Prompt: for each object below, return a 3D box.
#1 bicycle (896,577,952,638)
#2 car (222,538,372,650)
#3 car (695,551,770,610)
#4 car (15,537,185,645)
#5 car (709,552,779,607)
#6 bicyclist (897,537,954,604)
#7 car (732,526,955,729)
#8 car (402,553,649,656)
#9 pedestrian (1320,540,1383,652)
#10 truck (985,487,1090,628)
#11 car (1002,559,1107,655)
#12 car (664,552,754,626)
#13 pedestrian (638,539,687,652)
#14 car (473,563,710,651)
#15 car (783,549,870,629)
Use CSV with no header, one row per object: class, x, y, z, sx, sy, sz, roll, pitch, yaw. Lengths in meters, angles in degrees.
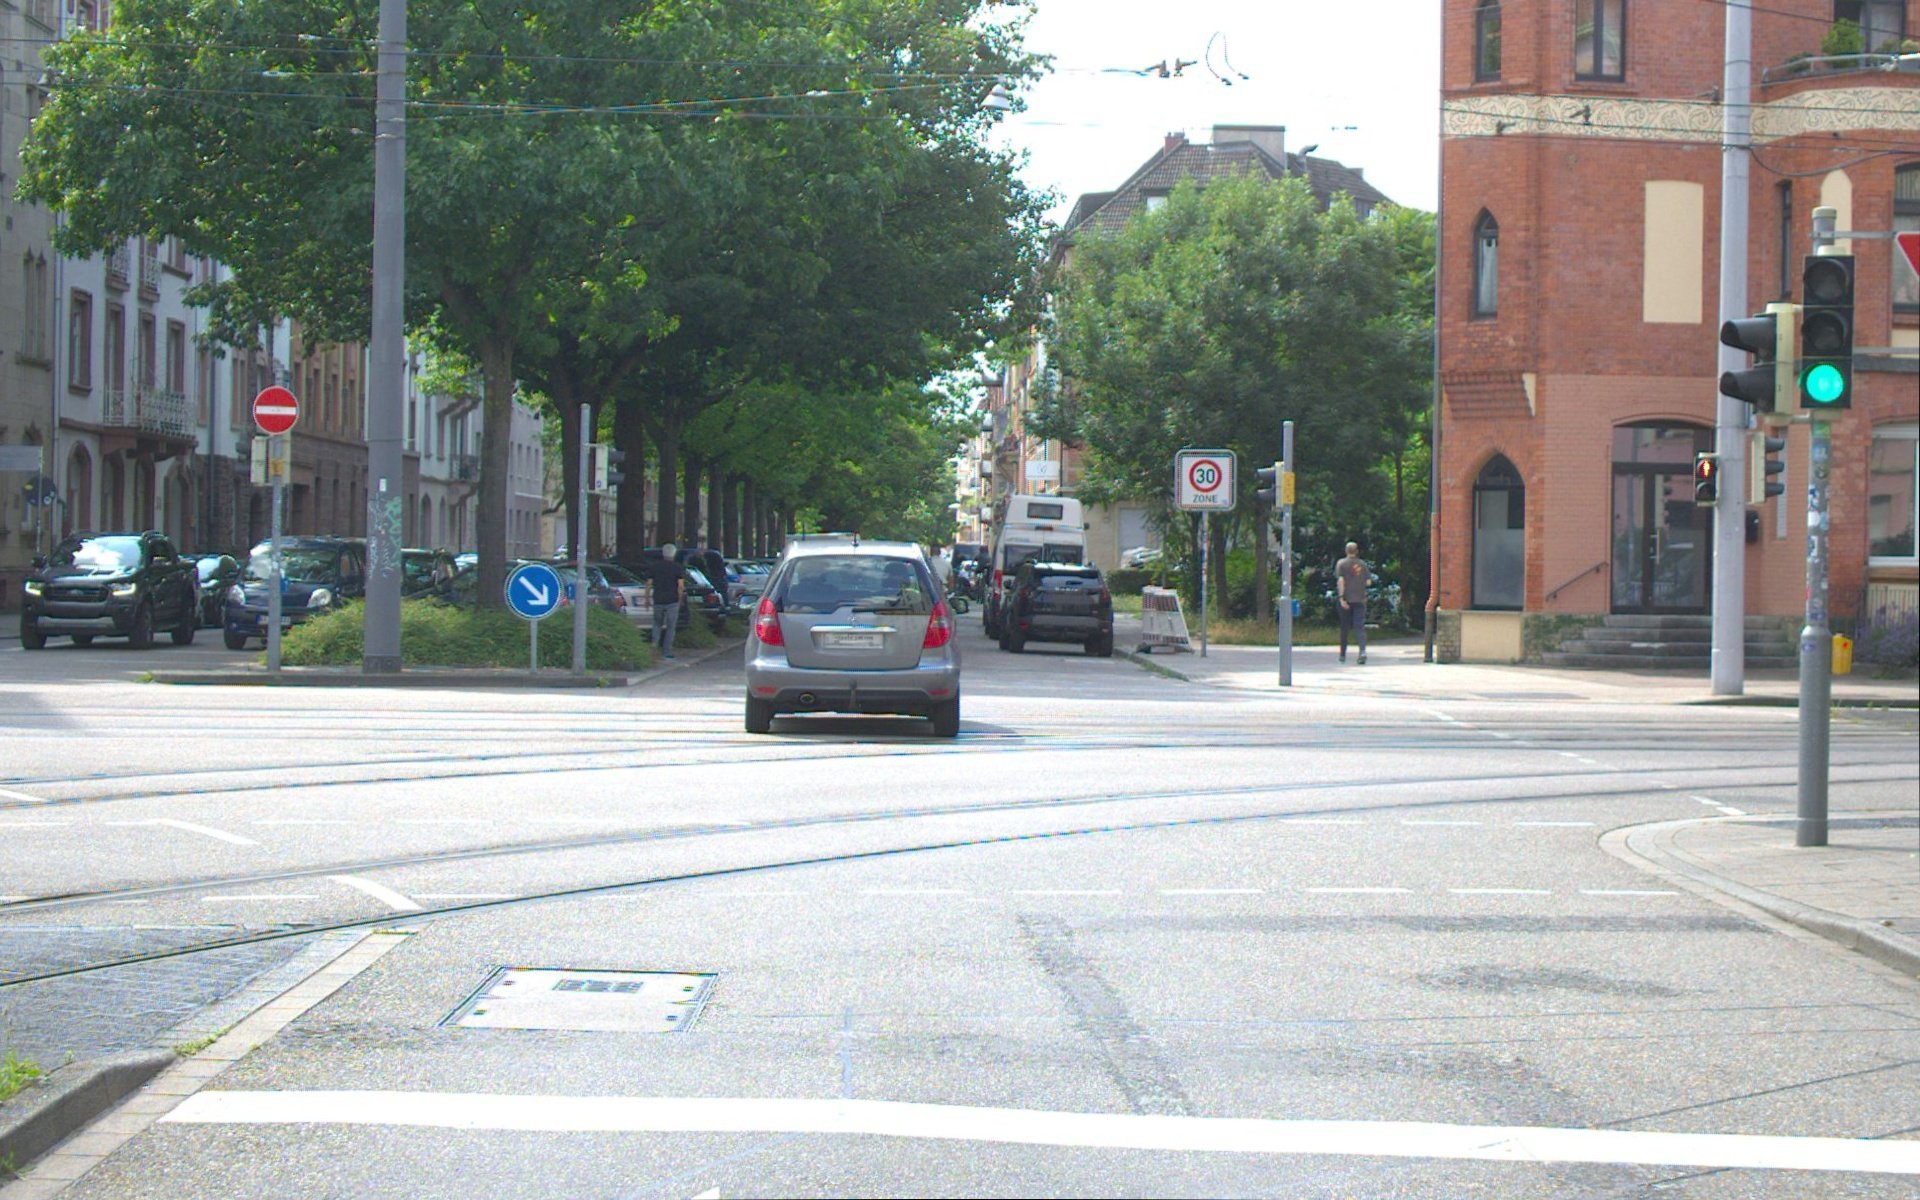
bicycle,-0.578,0.104,55.541,0.749,0.955,2.298,0,1,3
car,-10.569,-0.114,55.022,1.993,1.722,4.001,0,1,-6
car,-6.051,-0.529,91.703,1.752,1.512,3.499,1,1,0
car,-13.295,-0.157,53.337,1.993,1.612,4.001,0,1,-6
car,-6.174,-0.602,98.592,1.752,1.512,3.499,1,1,0
bicyclist,-0.552,-0.481,55.668,0.836,1.078,1.400,0,1,3
car,-0.925,0.199,29.049,1.722,1.600,3.677,0,1,0
car,-6.819,0.054,53.680,1.969,1.489,3.999,1,1,-39
pedestrian,5.855,-0.069,51.454,0.869,1.651,0.736,1,1,4
truck,1.710,-0.910,74.509,2.123,2.960,4.000,0,1,3
car,1.719,0.099,61.561,1.752,1.627,3.499,1,1,3
car,-5.676,-0.264,78.125,1.752,1.627,3.499,1,1,0
pedestrian,-4.573,-0.067,52.888,0.652,1.719,0.494,1,1,3
car,-6.070,0.106,56.298,1.969,1.334,3.999,1,1,-39
car,-2.902,-0.253,75.281,1.722,1.700,3.677,0,1,0
